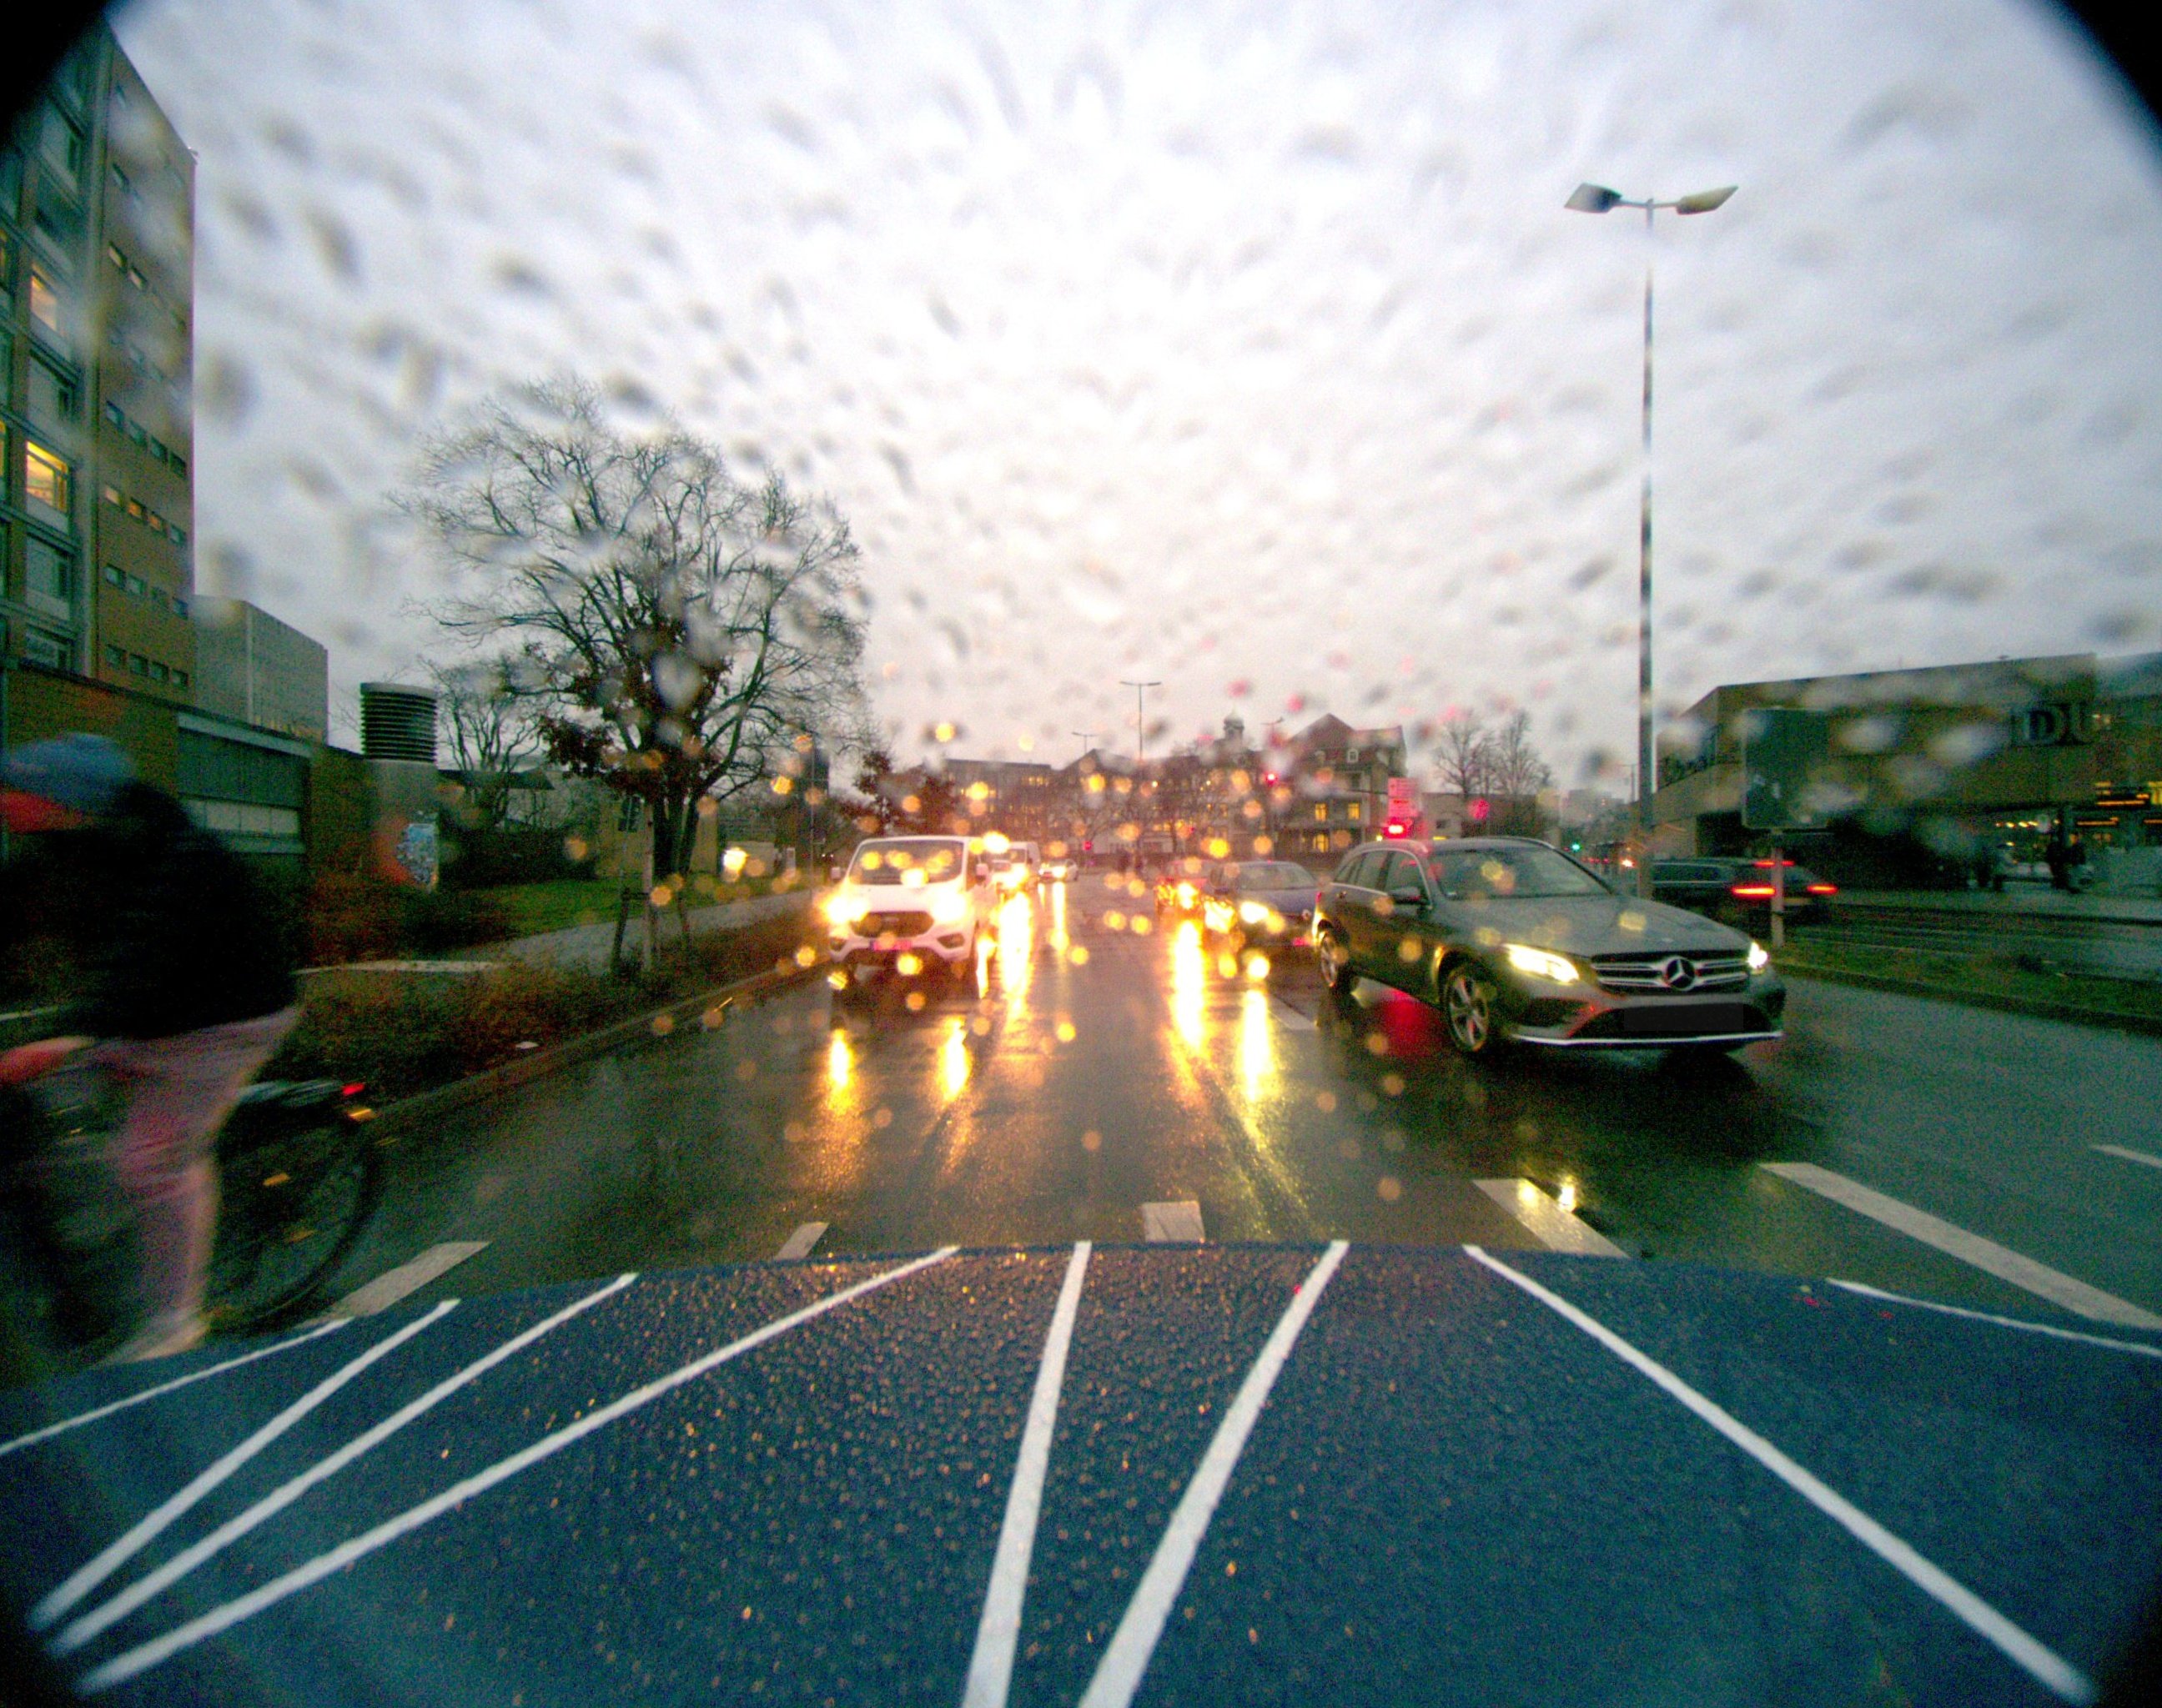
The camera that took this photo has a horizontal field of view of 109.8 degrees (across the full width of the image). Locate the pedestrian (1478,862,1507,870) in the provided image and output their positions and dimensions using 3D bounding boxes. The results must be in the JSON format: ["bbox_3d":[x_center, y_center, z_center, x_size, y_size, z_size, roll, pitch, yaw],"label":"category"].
[{"bbox_3d":[51.341,1.474,94.814,3.091,0.924,0.951,-2,-3,34],"label":"pedestrian"}]

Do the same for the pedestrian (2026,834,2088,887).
[{"bbox_3d":[35.853,0.225,27.927,1.120,1.907,1.065,0,0,35],"label":"pedestrian"}]

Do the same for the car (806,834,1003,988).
[{"bbox_3d":[-2.478,0.807,12.088,2.137,1.909,5.017,-1,-2,-2],"label":"car"}]

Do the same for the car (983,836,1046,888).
[{"bbox_3d":[-3.410,0.519,40.380,2.345,2.502,5.872,-1,-2,5],"label":"car"}]

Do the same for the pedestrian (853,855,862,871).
[{"bbox_3d":[-25.777,1.037,87.675,0.934,1.815,0.832,0,1,-23],"label":"pedestrian"}]

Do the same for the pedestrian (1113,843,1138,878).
[{"bbox_3d":[2.640,0.422,45.146,1.032,2.037,1.218,-2,-2,32],"label":"pedestrian"}]

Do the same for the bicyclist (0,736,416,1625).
[{"bbox_3d":[-2.802,0.695,1.950,1.026,1.872,1.236,-2,1,1],"label":"bicyclist"}]

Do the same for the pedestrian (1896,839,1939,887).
[{"bbox_3d":[30.516,0.323,27.731,0.741,1.716,0.744,0,0,7],"label":"pedestrian"}]

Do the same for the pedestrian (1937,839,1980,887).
[{"bbox_3d":[31.692,0.316,27.455,0.743,1.716,0.743,0,0,-15],"label":"pedestrian"}]

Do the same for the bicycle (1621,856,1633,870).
[{"bbox_3d":[45.282,0.785,63.001,0.645,1.097,2.757,-2,-3,33],"label":"bicycle"}]

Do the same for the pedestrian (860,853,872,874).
[{"bbox_3d":[-19.529,0.857,69.111,0.934,1.815,0.832,0,1,-23],"label":"pedestrian"}]

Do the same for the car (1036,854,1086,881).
[{"bbox_3d":[-1.256,0.821,49.733,1.835,1.634,4.823,0,0,16],"label":"car"}]

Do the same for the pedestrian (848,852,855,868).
[{"bbox_3d":[-29.196,0.790,96.657,0.767,2.002,0.908,0,1,-24],"label":"pedestrian"}]

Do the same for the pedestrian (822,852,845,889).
[{"bbox_3d":[-11.288,0.763,34.658,0.913,1.677,0.926,1,-2,-16],"label":"pedestrian"}]

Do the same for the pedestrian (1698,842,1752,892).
[{"bbox_3d":[24.456,0.501,28.869,1.236,1.846,1.034,0,-2,-22],"label":"pedestrian"}]

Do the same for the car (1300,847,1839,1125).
[{"bbox_3d":[3.553,0.772,6.763,1.790,1.591,4.540,-2,0,-1],"label":"car"}]

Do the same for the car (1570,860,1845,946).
[{"bbox_3d":[12.185,0.852,15.258,1.677,1.365,4.448,-2,0,-3],"label":"car"}]

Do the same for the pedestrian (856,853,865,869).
[{"bbox_3d":[-24.355,0.766,83.931,0.934,1.815,0.832,0,1,-23],"label":"pedestrian"}]

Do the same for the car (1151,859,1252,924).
[{"bbox_3d":[3.107,0.914,20.378,1.706,1.473,3.870,-3,0,-5],"label":"car"}]

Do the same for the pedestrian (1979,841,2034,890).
[{"bbox_3d":[30.979,0.373,25.455,0.854,1.593,0.967,0,0,28],"label":"pedestrian"}]

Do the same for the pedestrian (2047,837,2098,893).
[{"bbox_3d":[31.680,0.342,24.294,0.801,1.740,0.761,0,0,-18],"label":"pedestrian"}]

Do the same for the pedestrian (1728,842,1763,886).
[{"bbox_3d":[26.425,0.393,30.231,0.741,1.716,0.744,0,0,7],"label":"pedestrian"}]

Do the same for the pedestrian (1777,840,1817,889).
[{"bbox_3d":[26.631,0.387,28.265,0.662,1.757,0.832,0,0,-18],"label":"pedestrian"}]

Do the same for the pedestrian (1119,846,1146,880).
[{"bbox_3d":[2.879,0.535,42.840,1.037,1.846,1.068,1,-2,-38],"label":"pedestrian"}]

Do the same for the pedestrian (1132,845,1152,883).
[{"bbox_3d":[3.257,0.532,40.876,0.848,1.993,1.109,-1,-2,-6],"label":"pedestrian"}]

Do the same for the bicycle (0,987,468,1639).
[{"bbox_3d":[-2.794,1.134,1.977,0.794,1.215,1.904,-2,0,1],"label":"bicycle"}]

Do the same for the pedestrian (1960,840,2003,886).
[{"bbox_3d":[33.769,0.331,28.503,0.743,1.716,0.743,0,0,-9],"label":"pedestrian"}]

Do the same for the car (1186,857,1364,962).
[{"bbox_3d":[3.060,0.799,12.872,1.664,1.396,4.118,-2,0,-4],"label":"car"}]

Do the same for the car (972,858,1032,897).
[{"bbox_3d":[-3.305,1.017,32.515,1.753,1.494,4.321,-1,-2,5],"label":"car"}]
